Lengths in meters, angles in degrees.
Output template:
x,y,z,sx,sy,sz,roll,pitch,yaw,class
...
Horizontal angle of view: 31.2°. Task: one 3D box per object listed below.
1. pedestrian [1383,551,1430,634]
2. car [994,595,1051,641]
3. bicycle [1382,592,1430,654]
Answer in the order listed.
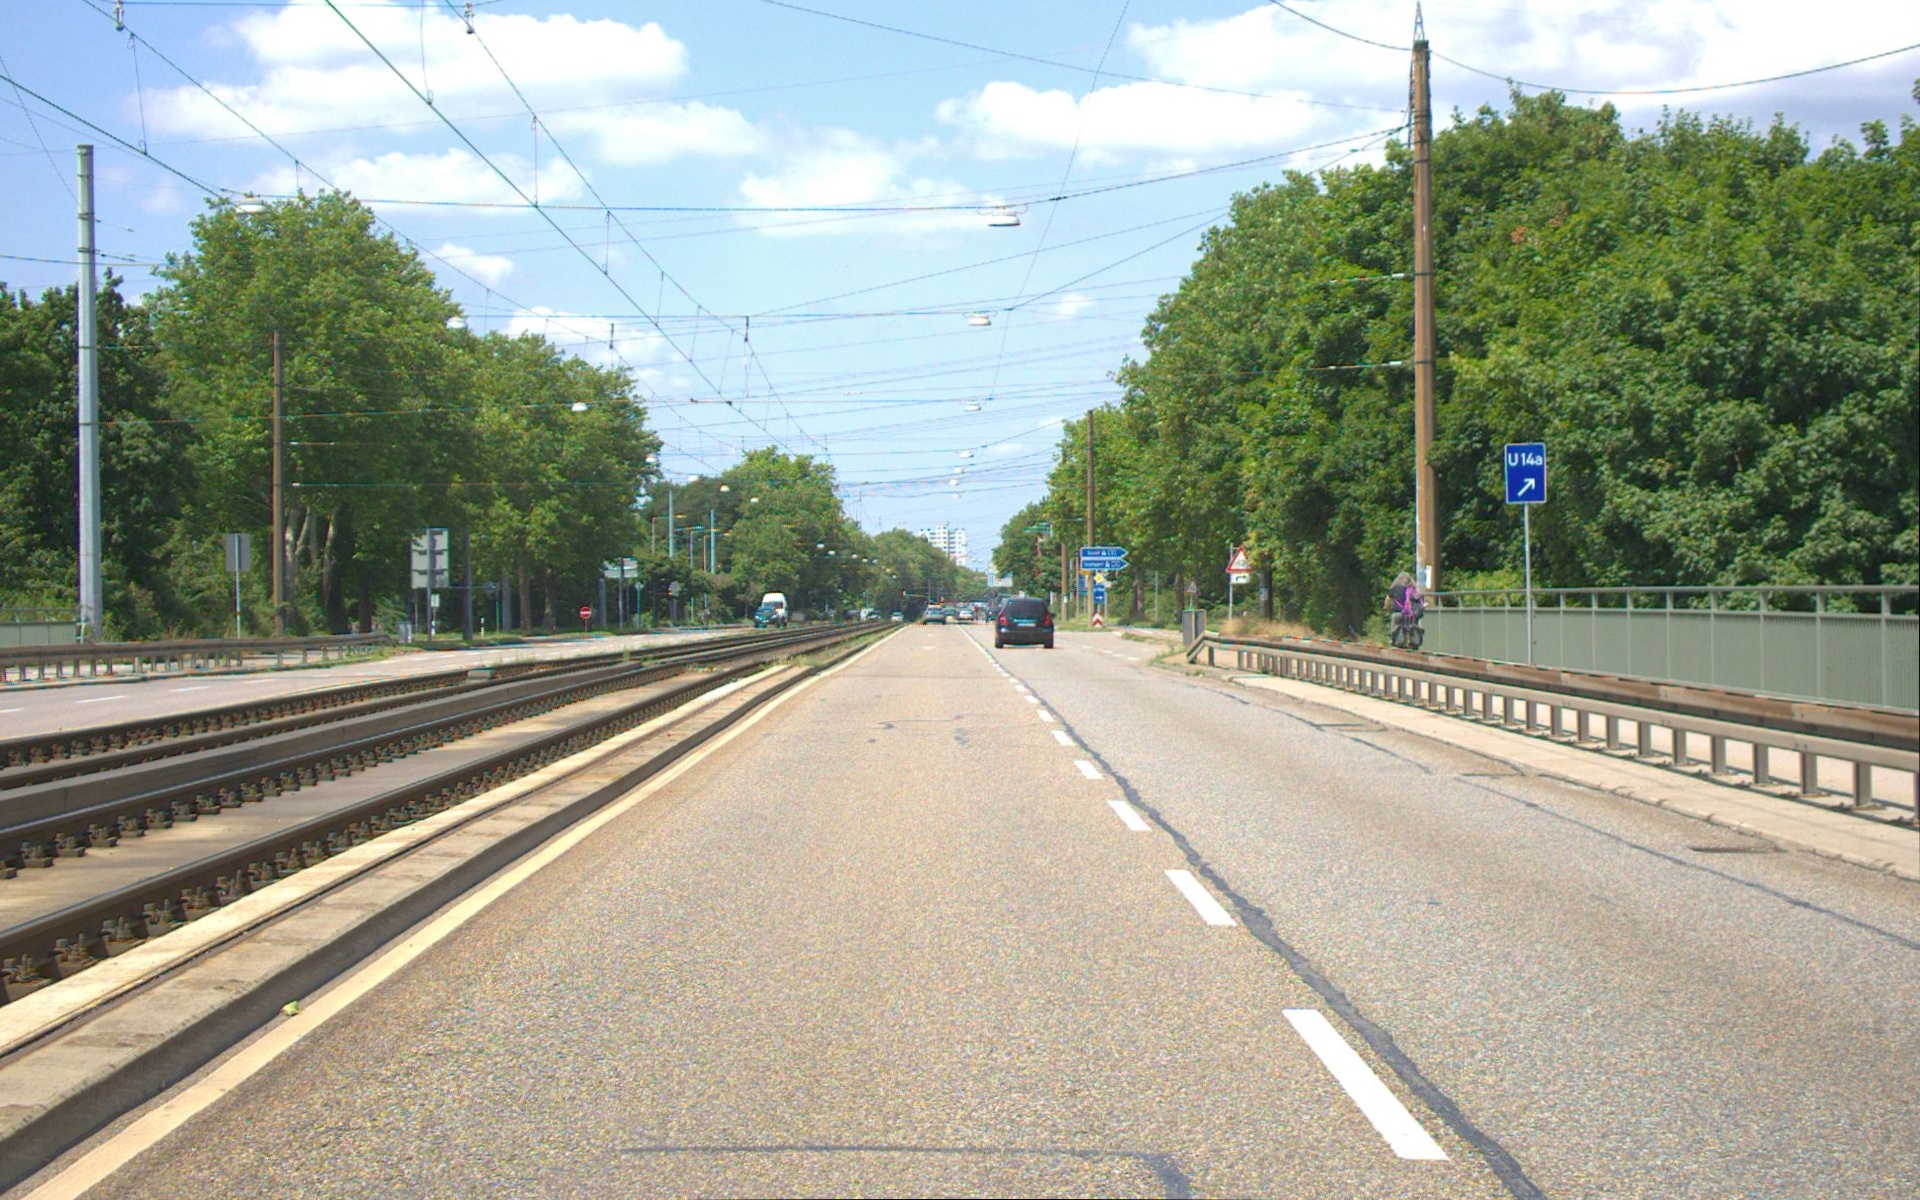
x,y,z,sx,sy,sz,roll,pitch,yaw,class
7.492,-0.131,57.703,0.628,1.369,1.050,-1,0,0,pedestrian
1.910,0.551,106.241,1.586,1.338,3.272,-1,1,-2,car
7.481,0.373,57.704,0.559,1.021,1.848,-1,0,0,bicycle
